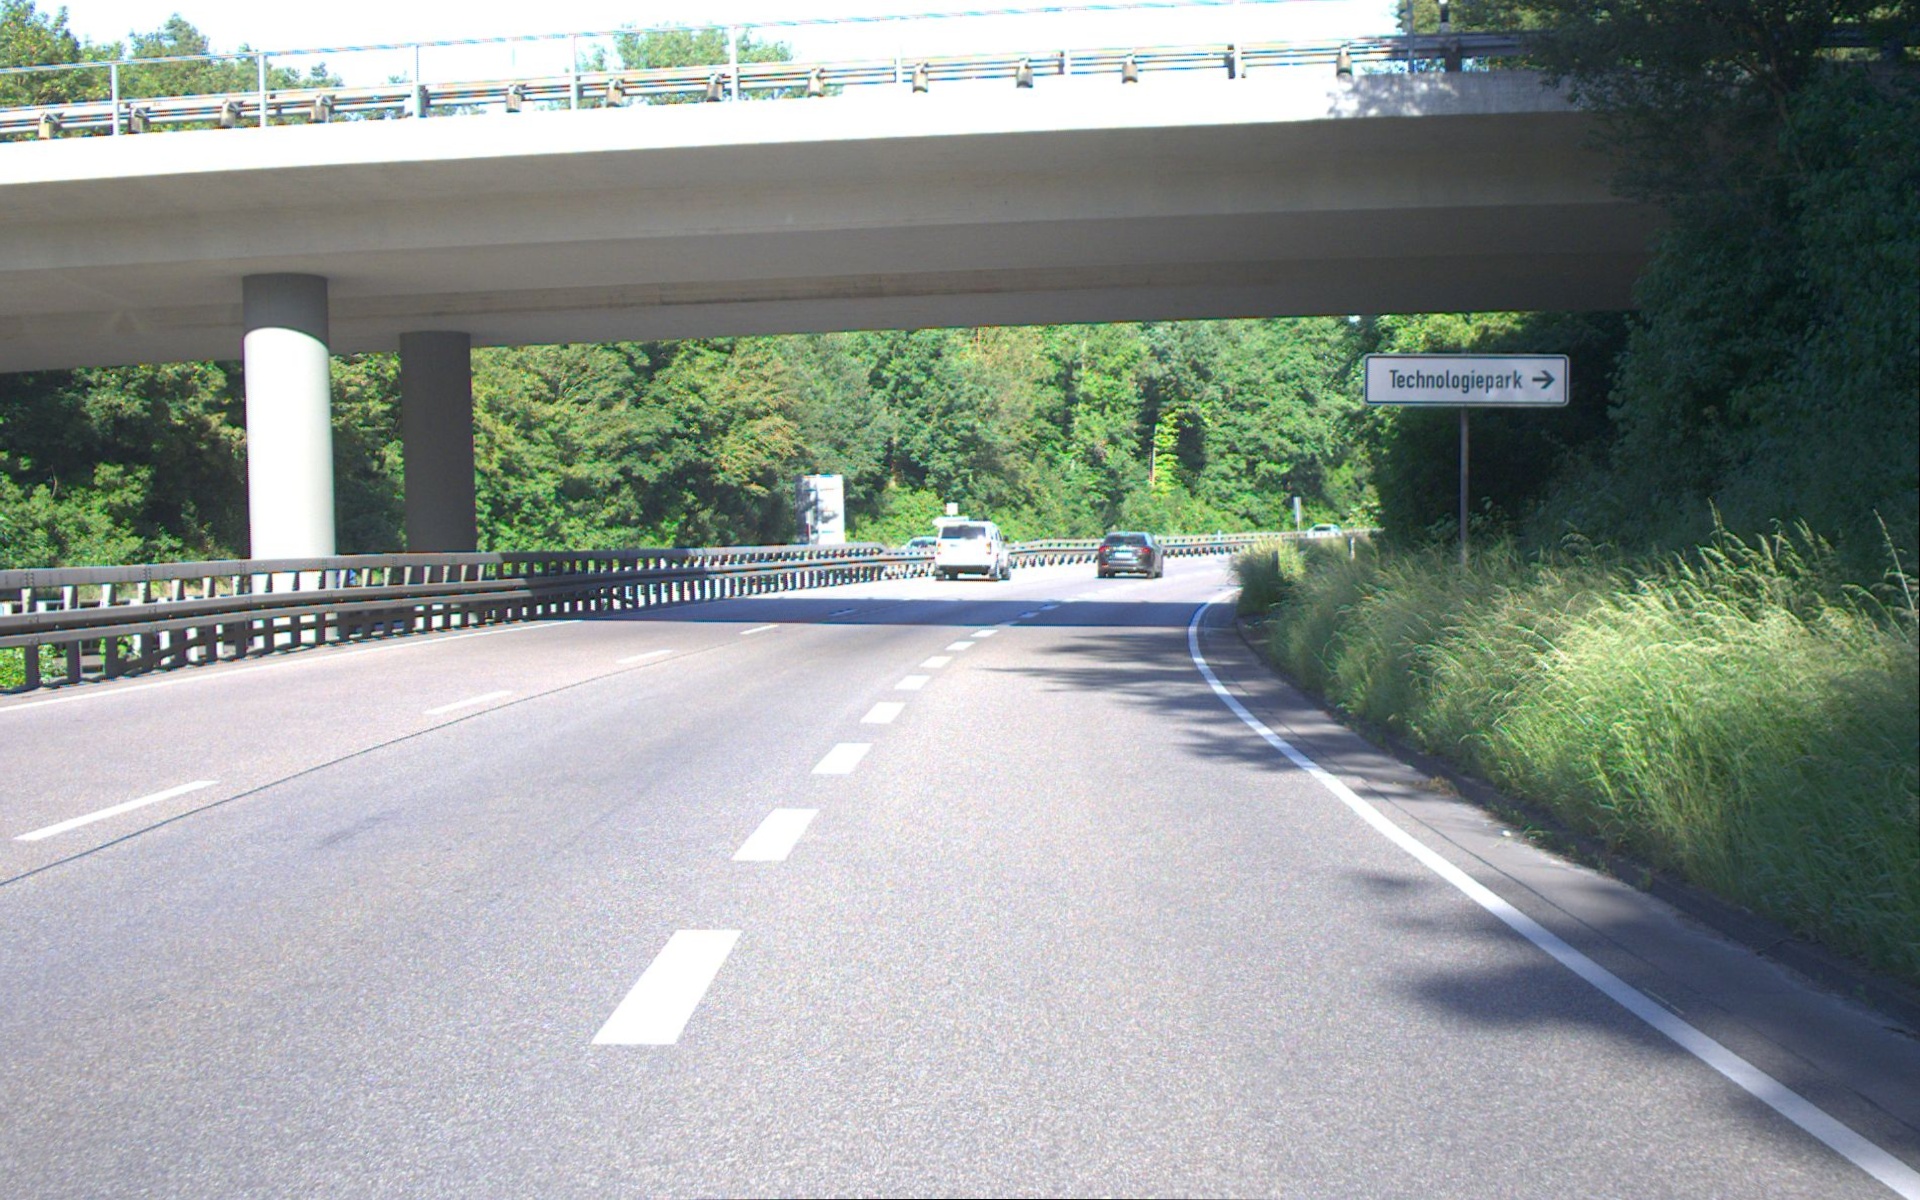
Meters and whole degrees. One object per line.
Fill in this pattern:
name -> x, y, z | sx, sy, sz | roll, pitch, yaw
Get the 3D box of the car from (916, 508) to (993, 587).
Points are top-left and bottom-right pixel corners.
car -> -0.132, -1.580, 102.312 | 1.994, 2.269, 4.000 | -1, 1, 4

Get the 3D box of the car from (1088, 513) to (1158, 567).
car -> 5.190, -1.919, 109.086 | 1.740, 1.656, 3.944 | -1, 1, 10
